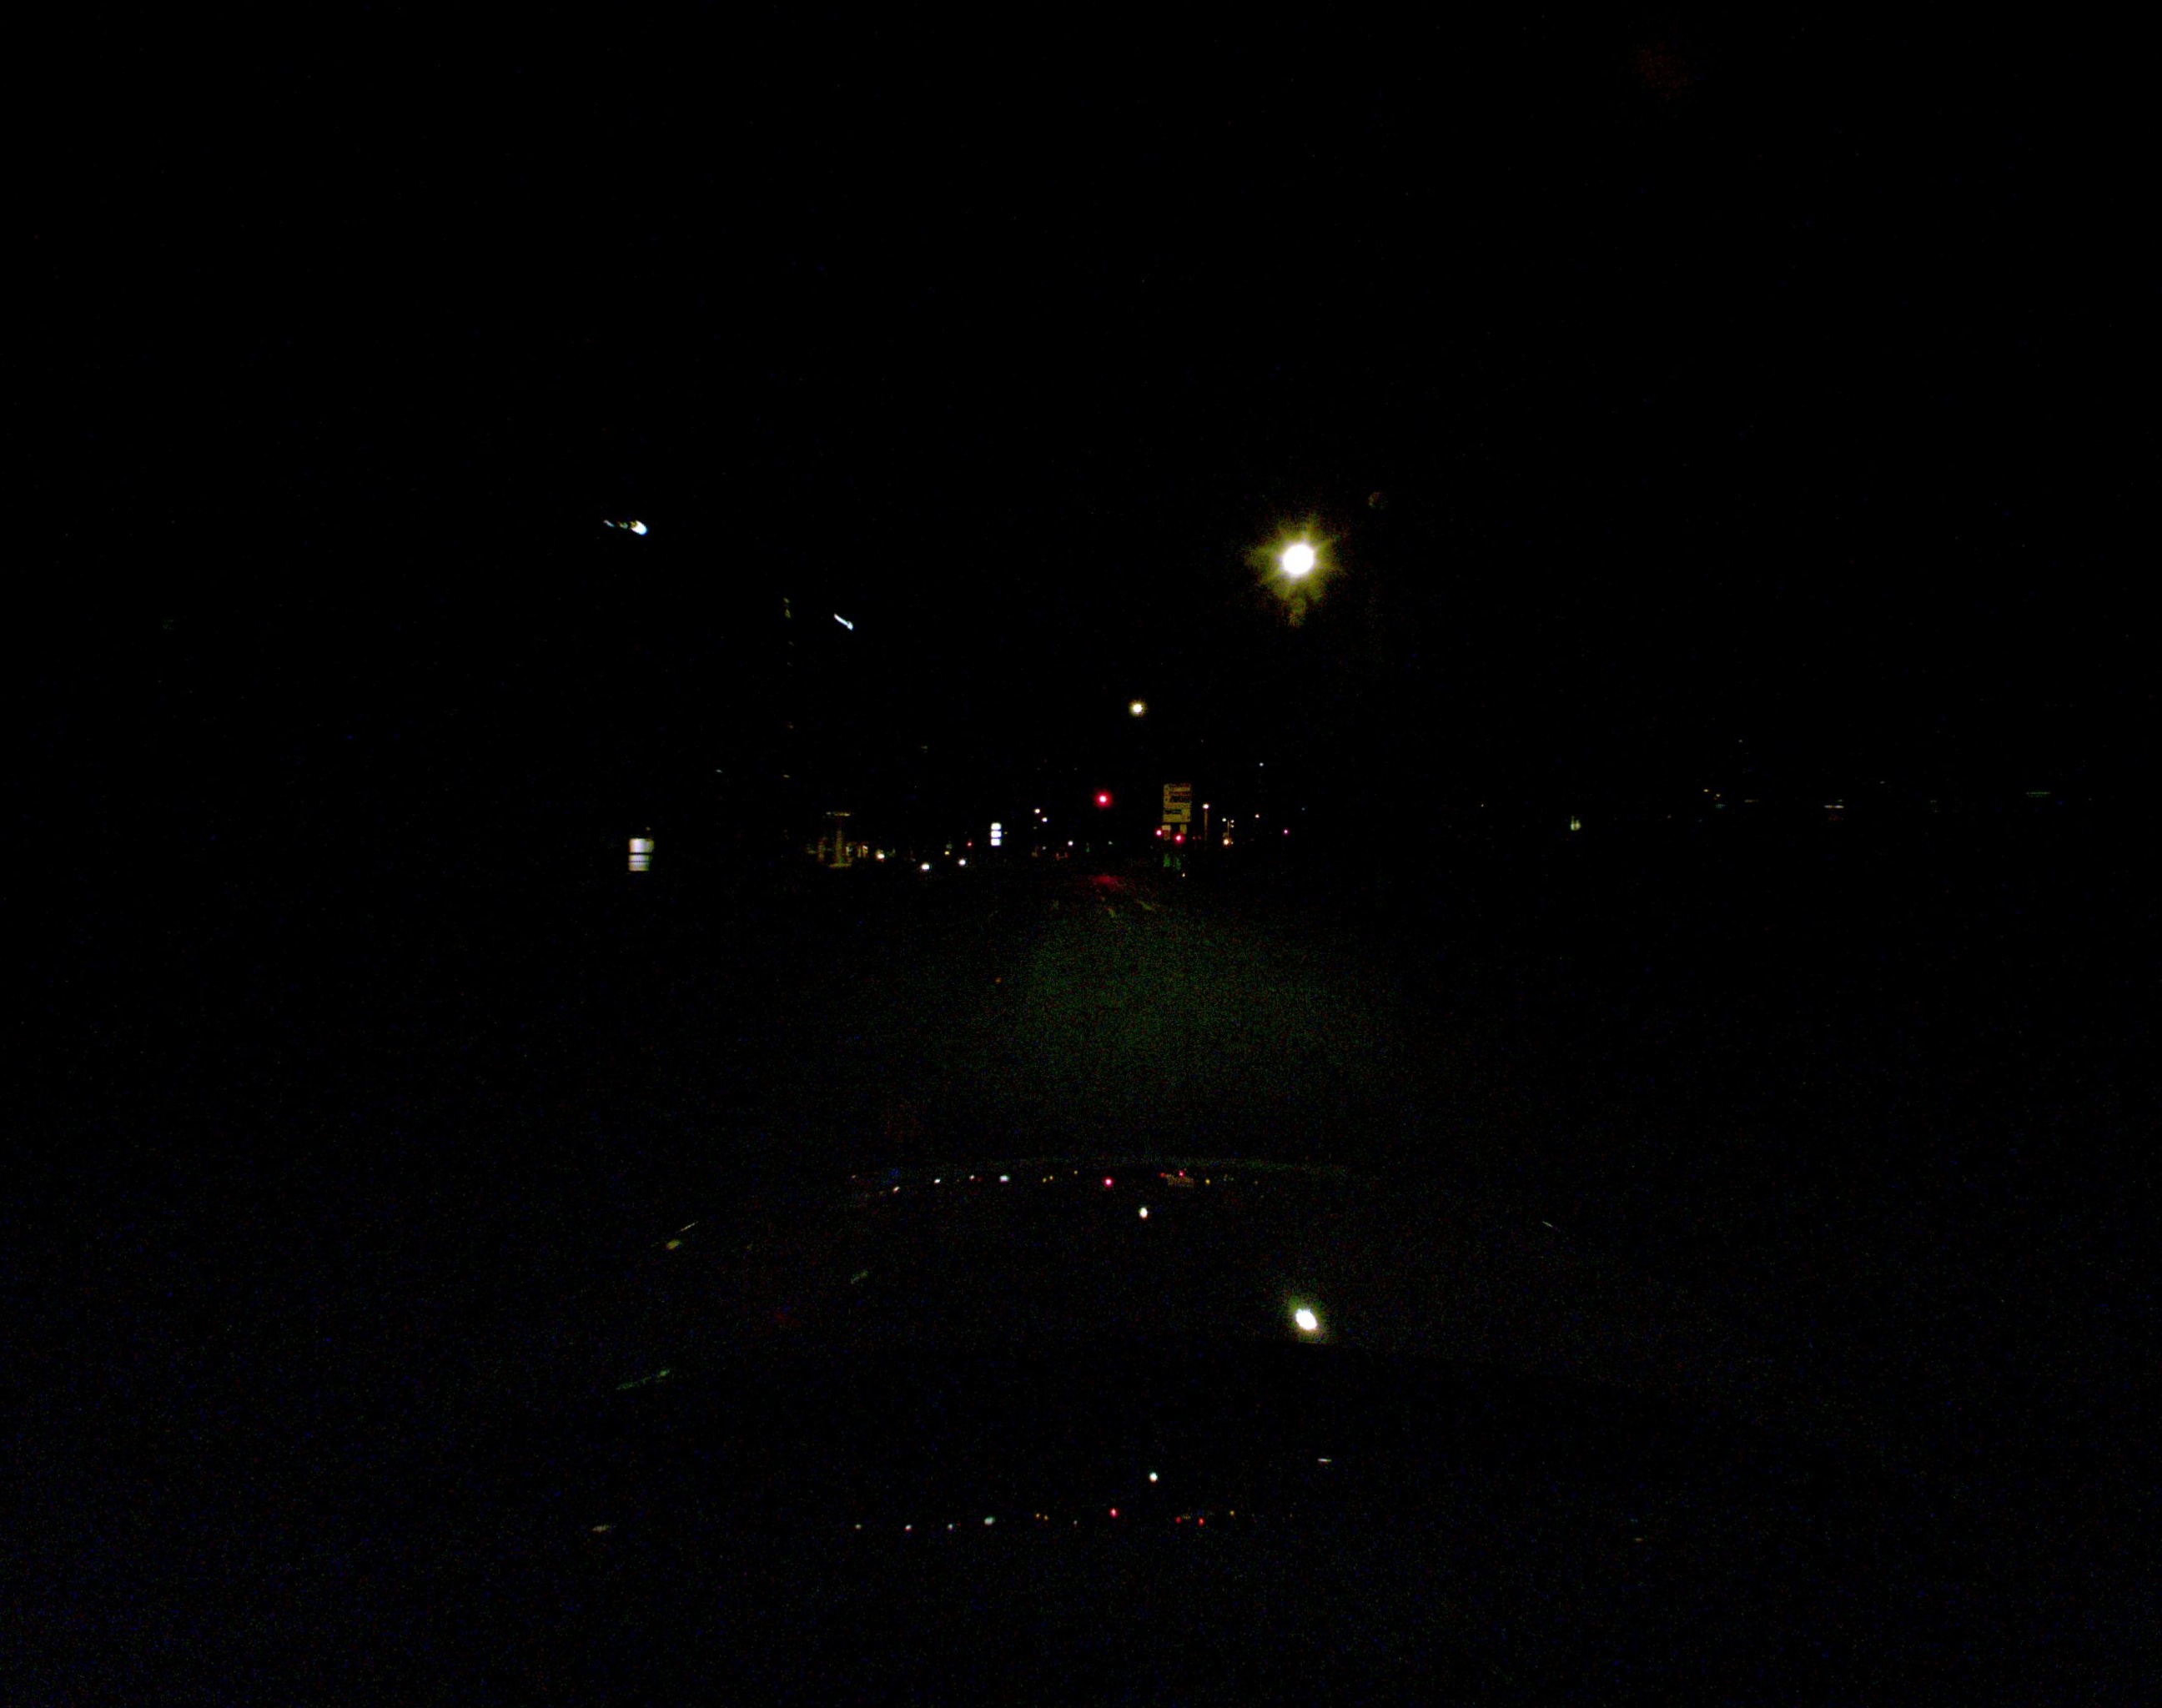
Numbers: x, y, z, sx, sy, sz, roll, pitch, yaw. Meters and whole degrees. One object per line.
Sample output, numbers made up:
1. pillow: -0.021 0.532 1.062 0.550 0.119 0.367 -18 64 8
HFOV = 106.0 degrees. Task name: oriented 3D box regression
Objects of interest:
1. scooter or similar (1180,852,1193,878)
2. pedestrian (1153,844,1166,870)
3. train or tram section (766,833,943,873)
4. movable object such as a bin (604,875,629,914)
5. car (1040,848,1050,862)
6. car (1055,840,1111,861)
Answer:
1. scooter or similar: 5.453 0.560 42.190 0.492 1.262 1.320 -3 0 2
2. pedestrian: 5.844 0.218 60.890 0.739 1.981 0.622 -1 0 -17
3. train or tram section: -25.199 -0.139 90.907 19.079 3.823 2.928 -2 0 5
4. movable object such as a bin: -16.386 1.412 28.720 0.623 1.307 0.562 -3 0 -38
5. car: -7.836 0.251 179.191 1.990 2.974 3.993 -1 0 -5
6. car: 0.551 -0.746 192.095 12.403 4.709 4.786 -1 0 -14
